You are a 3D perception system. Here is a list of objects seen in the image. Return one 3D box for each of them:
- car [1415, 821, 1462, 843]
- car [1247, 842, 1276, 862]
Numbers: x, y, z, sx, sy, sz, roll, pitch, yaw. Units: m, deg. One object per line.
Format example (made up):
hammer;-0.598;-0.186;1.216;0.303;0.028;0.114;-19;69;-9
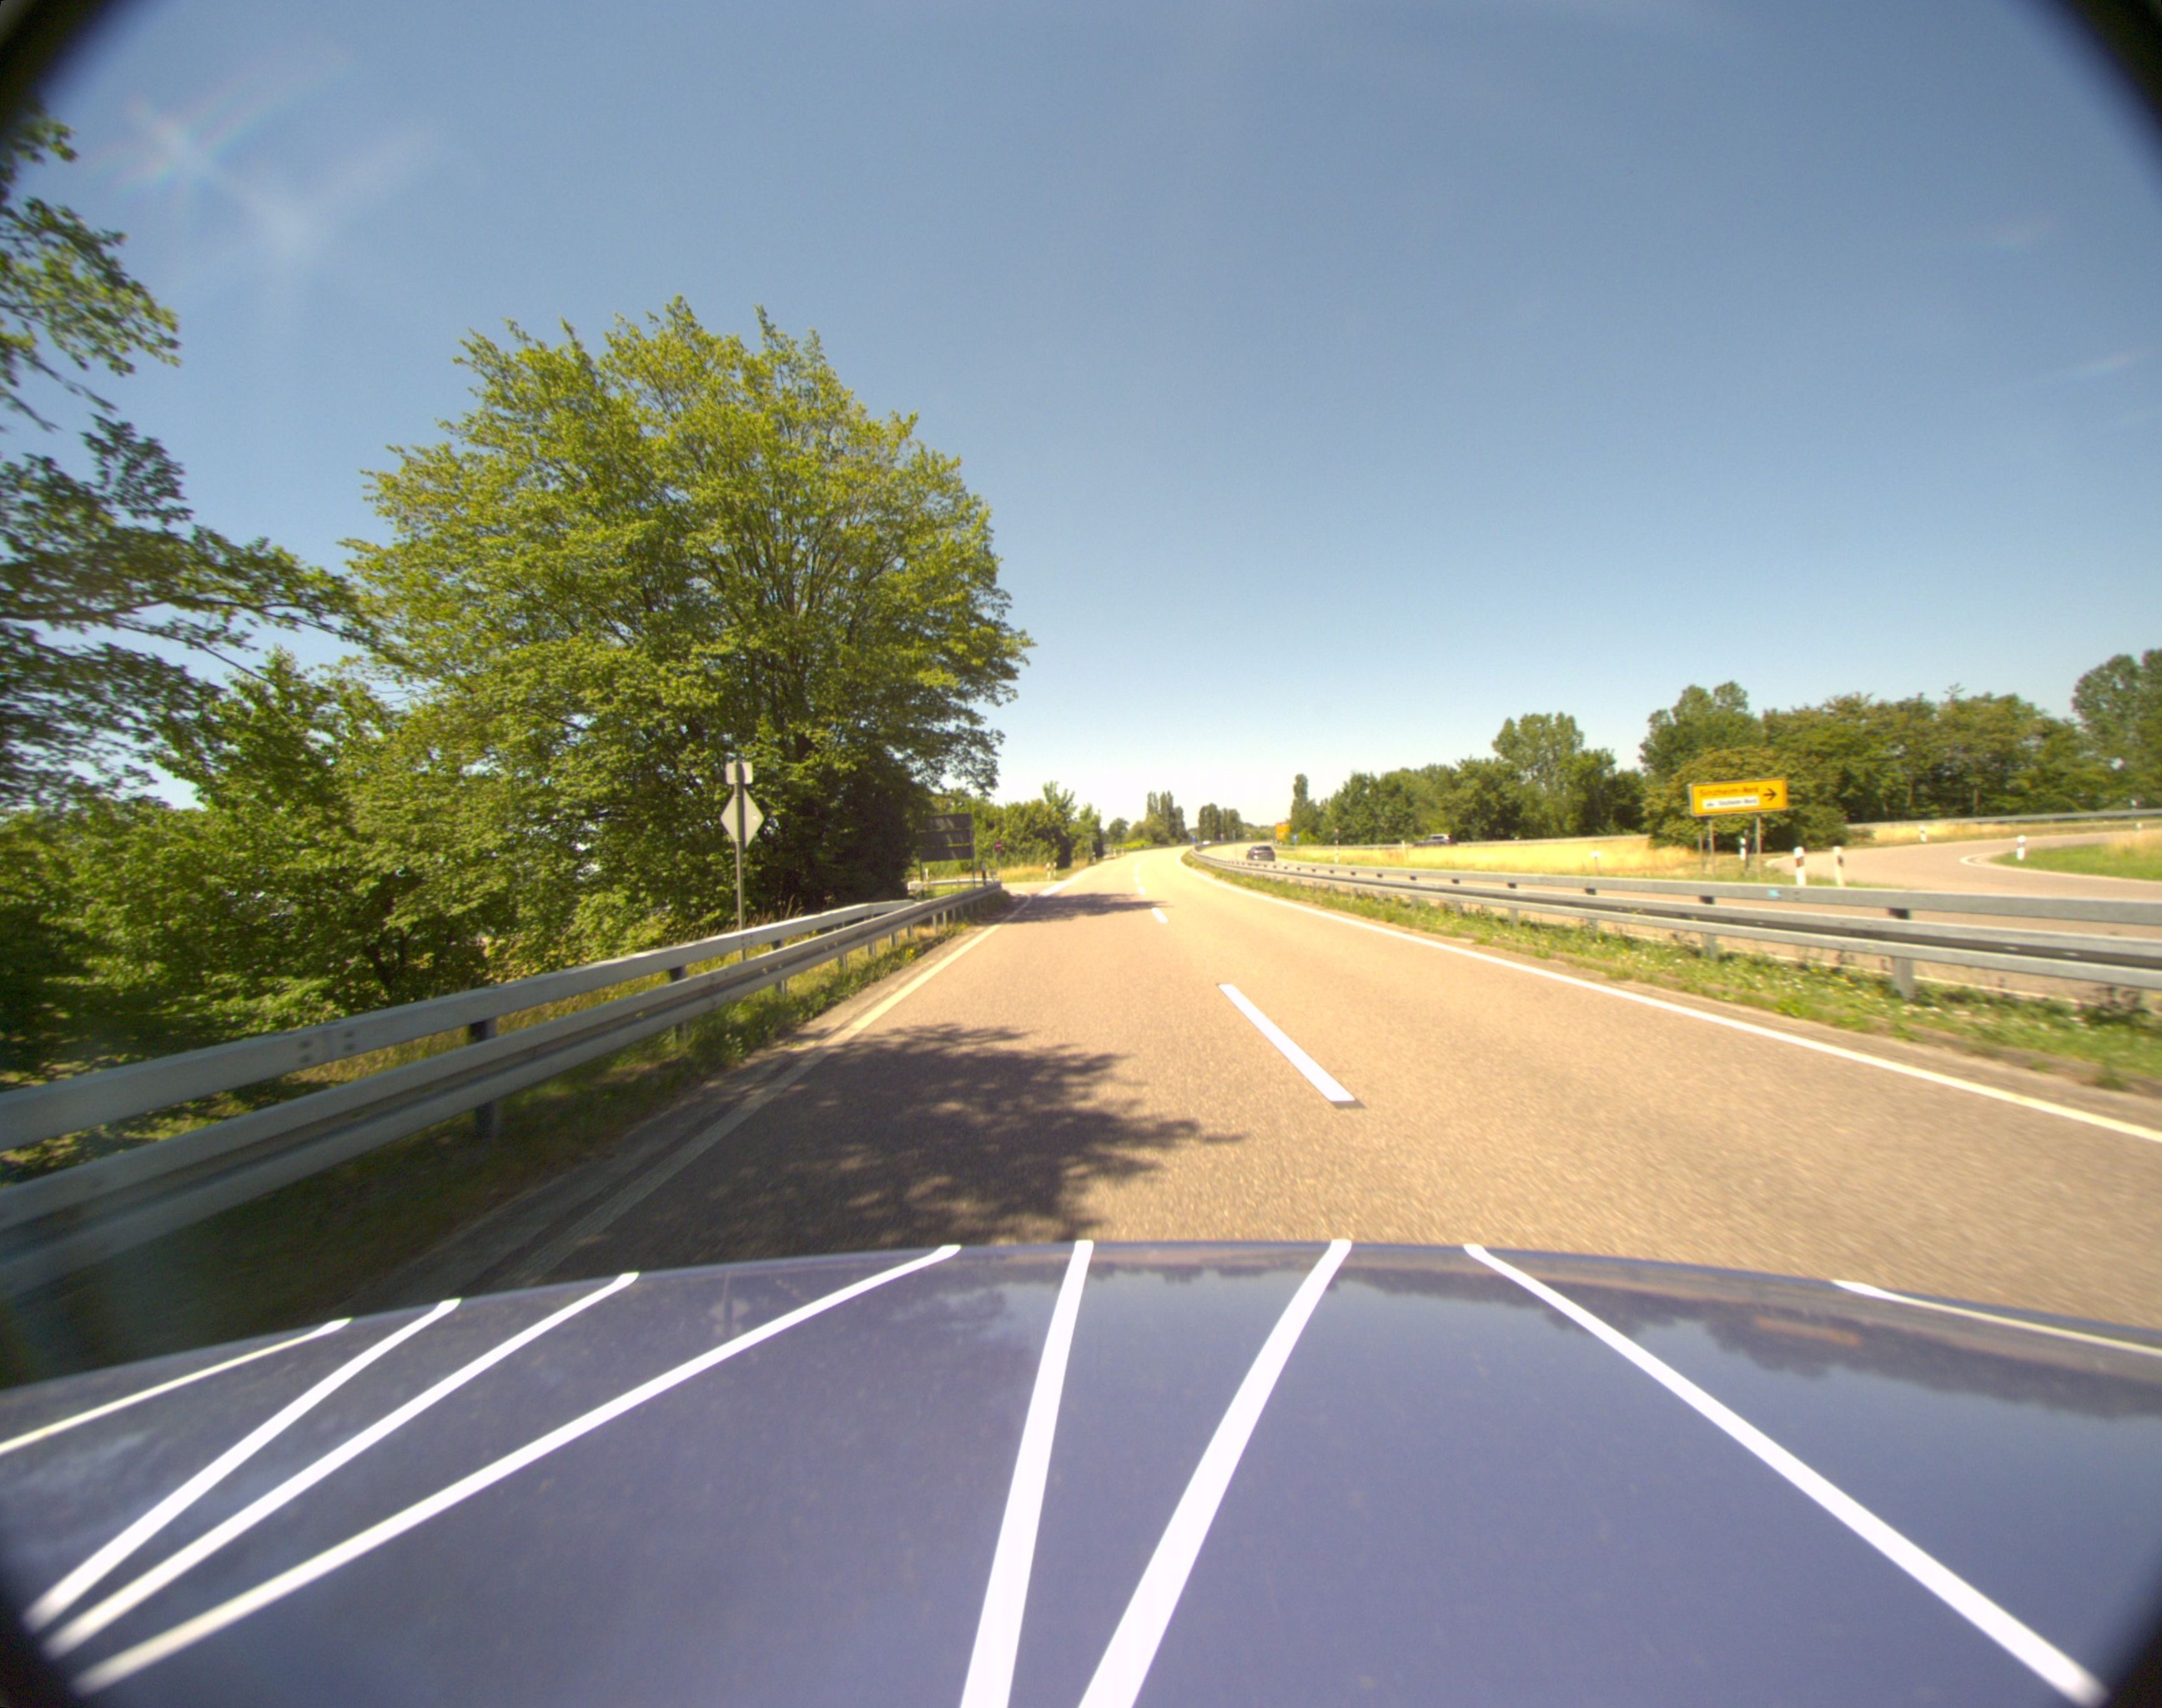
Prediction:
car;38.830;-2.404;82.605;2.003;2.002;3.990;-6;2;-35
car;15.025;-0.179;63.493;1.827;1.608;4.542;-2;0;7
